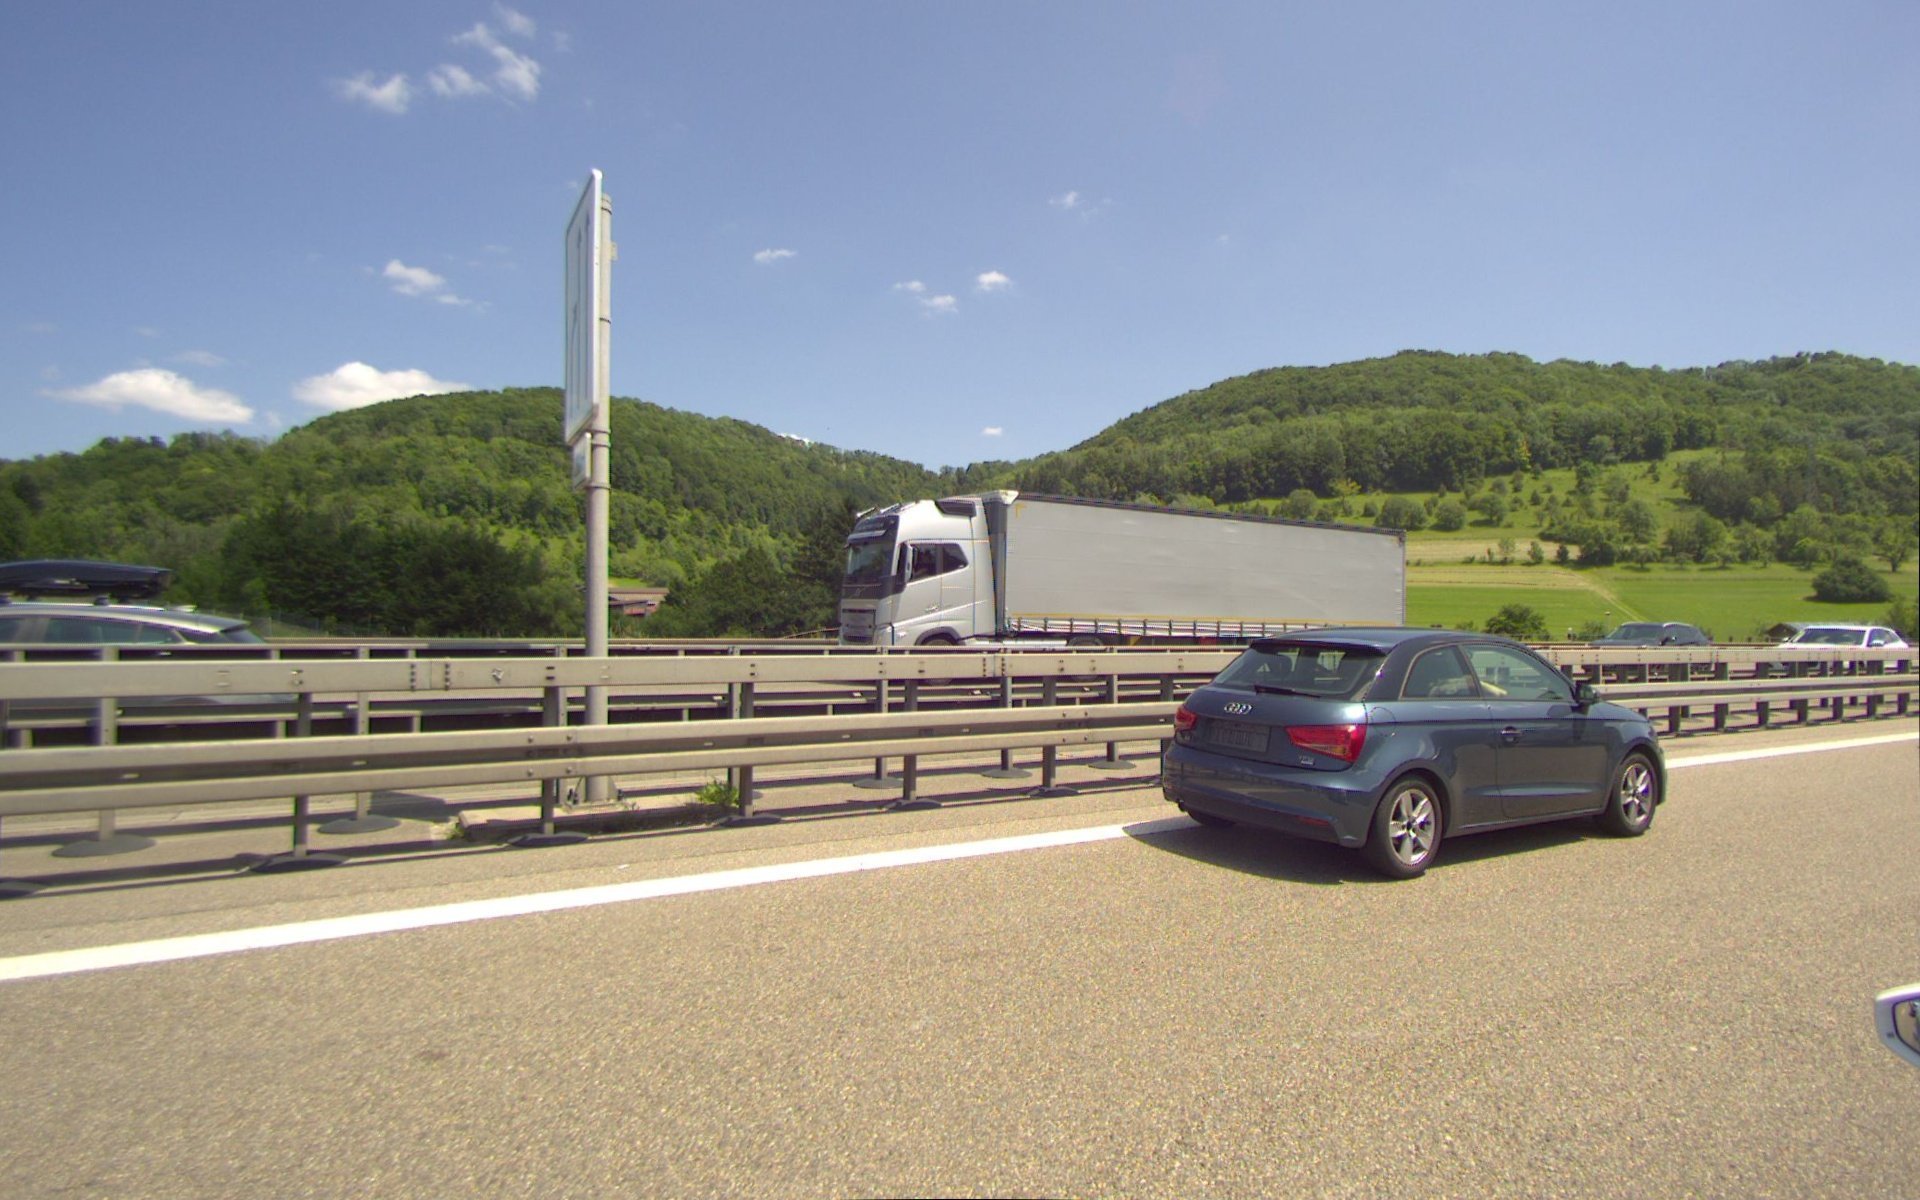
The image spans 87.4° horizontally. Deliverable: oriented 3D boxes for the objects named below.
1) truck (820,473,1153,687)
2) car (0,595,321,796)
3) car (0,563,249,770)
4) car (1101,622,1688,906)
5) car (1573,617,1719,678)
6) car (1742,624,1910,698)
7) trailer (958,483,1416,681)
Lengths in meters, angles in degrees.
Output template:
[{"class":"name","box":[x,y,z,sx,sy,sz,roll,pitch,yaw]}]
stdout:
[{"class":"truck","box":[0.669,-0.294,22.941,6.875,4.203,3.262,2,-1,-31]},{"class":"car","box":[-7.706,0.721,8.302,3.978,1.504,1.759,1,-1,-31]},{"class":"car","box":[-10.616,0.683,11.097,4.229,2.146,1.878,1,-1,-28]},{"class":"car","box":[3.042,0.889,6.828,3.954,1.407,1.680,1,-1,-31]},{"class":"car","box":[20.033,1.368,29.282,4.304,1.639,1.860,1,-1,-30]},{"class":"car","box":[22.599,1.534,26.183,4.457,1.716,1.984,1,0,-30]},{"class":"trailer","box":[6.350,-0.198,26.264,12.846,4.260,3.232,2,0,-30]}]
